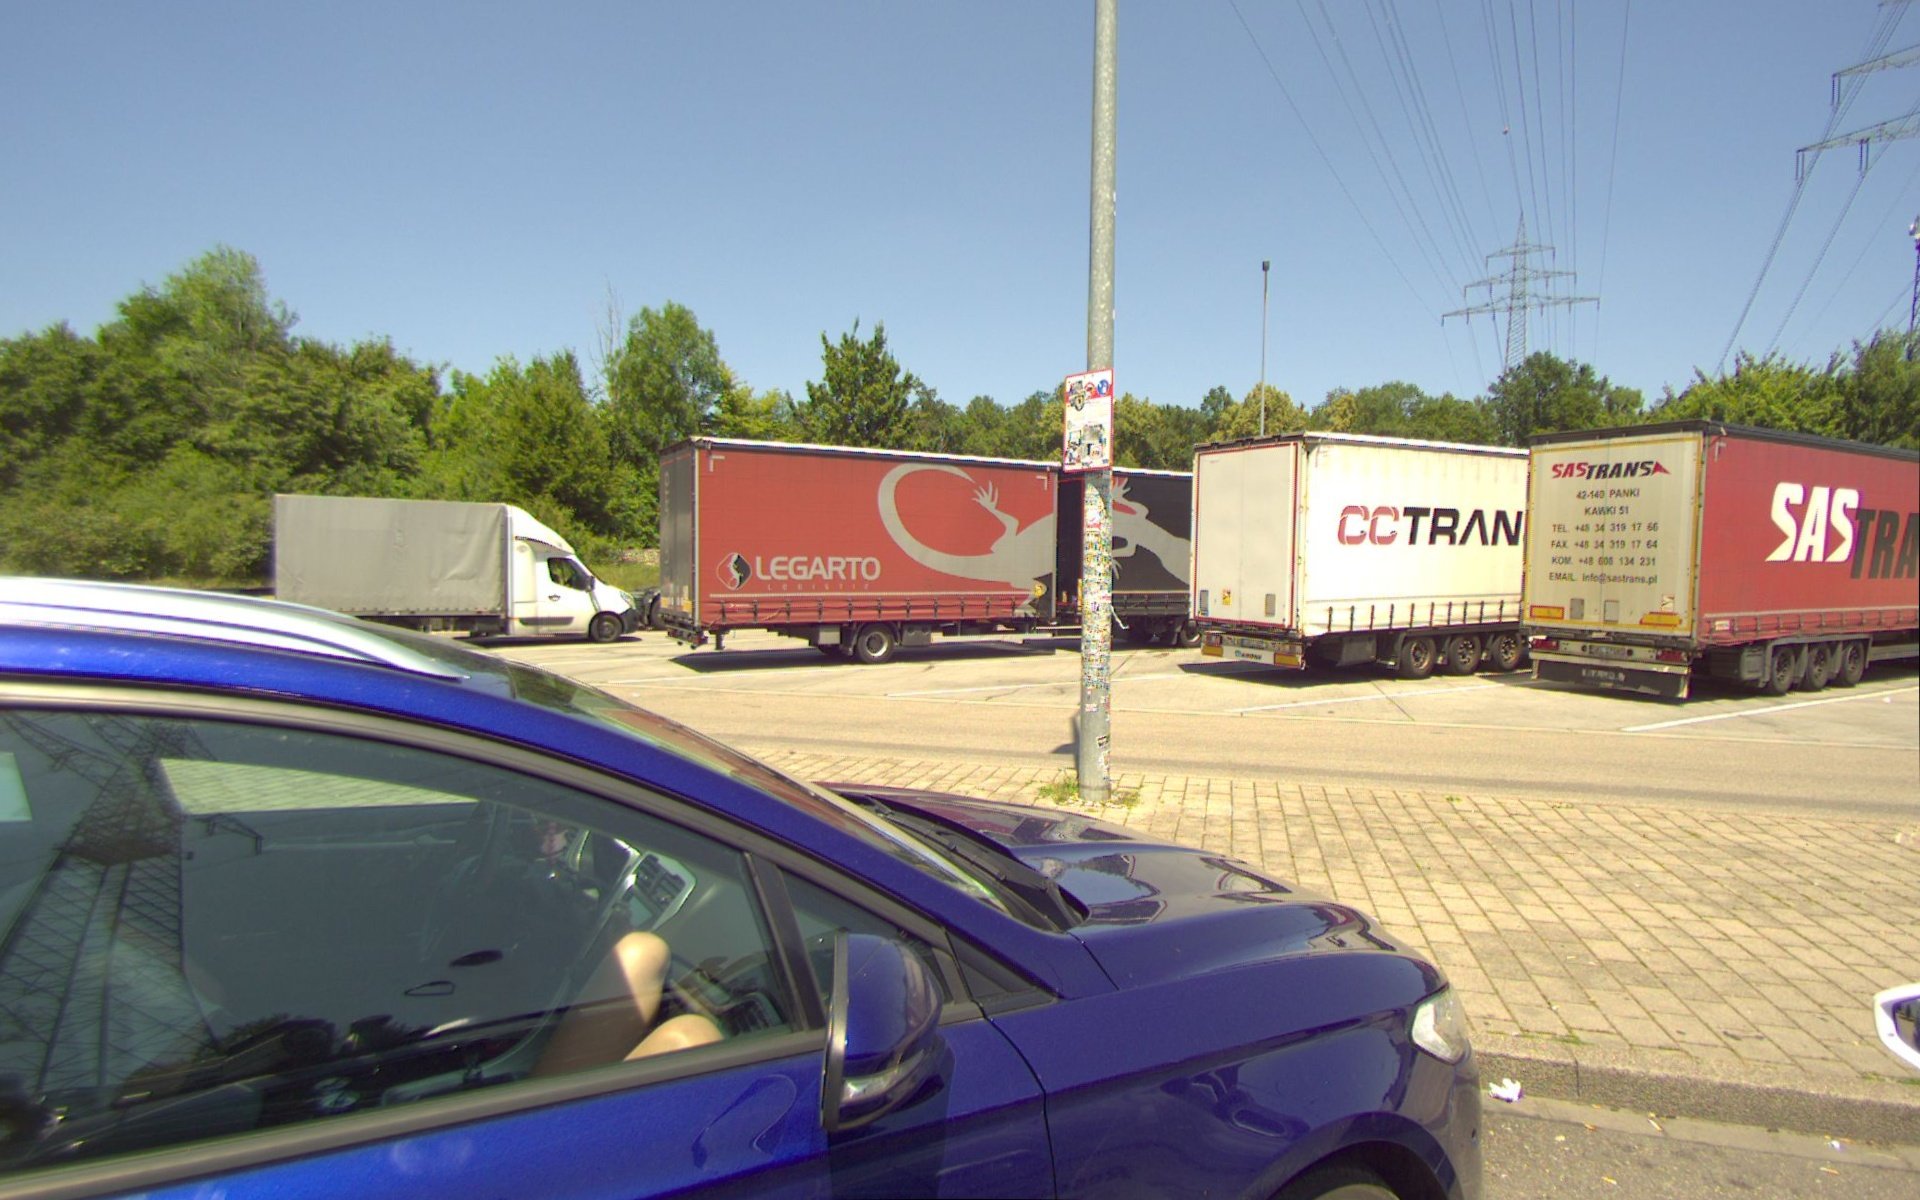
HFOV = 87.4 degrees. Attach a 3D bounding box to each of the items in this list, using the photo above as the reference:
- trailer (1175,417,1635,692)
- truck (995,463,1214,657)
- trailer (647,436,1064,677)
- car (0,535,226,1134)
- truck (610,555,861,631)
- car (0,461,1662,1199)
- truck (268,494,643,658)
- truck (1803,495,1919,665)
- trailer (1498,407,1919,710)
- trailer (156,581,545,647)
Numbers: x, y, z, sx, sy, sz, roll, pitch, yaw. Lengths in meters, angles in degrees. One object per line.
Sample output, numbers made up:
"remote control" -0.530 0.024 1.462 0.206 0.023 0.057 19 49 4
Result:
"trailer" 8.853 -0.825 19.328 10.049 4.267 2.714 -1 3 -30
"truck" 3.343 -0.910 23.362 4.273 4.072 2.689 -1 3 -30
"trailer" -1.939 -0.835 20.269 7.996 4.101 2.696 -1 3 -30
"car" -4.568 0.581 2.257 4.592 1.554 1.726 0 1 -33
"truck" -6.494 -0.170 29.529 6.961 2.040 1.984 0 0 -30
"car" -0.995 0.654 1.472 4.592 1.502 1.727 0 0 -33
"truck" -11.215 -0.579 22.906 7.254 3.254 2.515 -1 3 -30
"truck" 21.715 -0.438 22.307 5.418 3.475 2.838 -1 3 -30
"trailer" 15.392 -0.708 18.563 13.559 4.189 2.892 -1 3 -30
"trailer" -14.843 0.253 25.190 7.996 1.394 2.211 -1 3 -30
